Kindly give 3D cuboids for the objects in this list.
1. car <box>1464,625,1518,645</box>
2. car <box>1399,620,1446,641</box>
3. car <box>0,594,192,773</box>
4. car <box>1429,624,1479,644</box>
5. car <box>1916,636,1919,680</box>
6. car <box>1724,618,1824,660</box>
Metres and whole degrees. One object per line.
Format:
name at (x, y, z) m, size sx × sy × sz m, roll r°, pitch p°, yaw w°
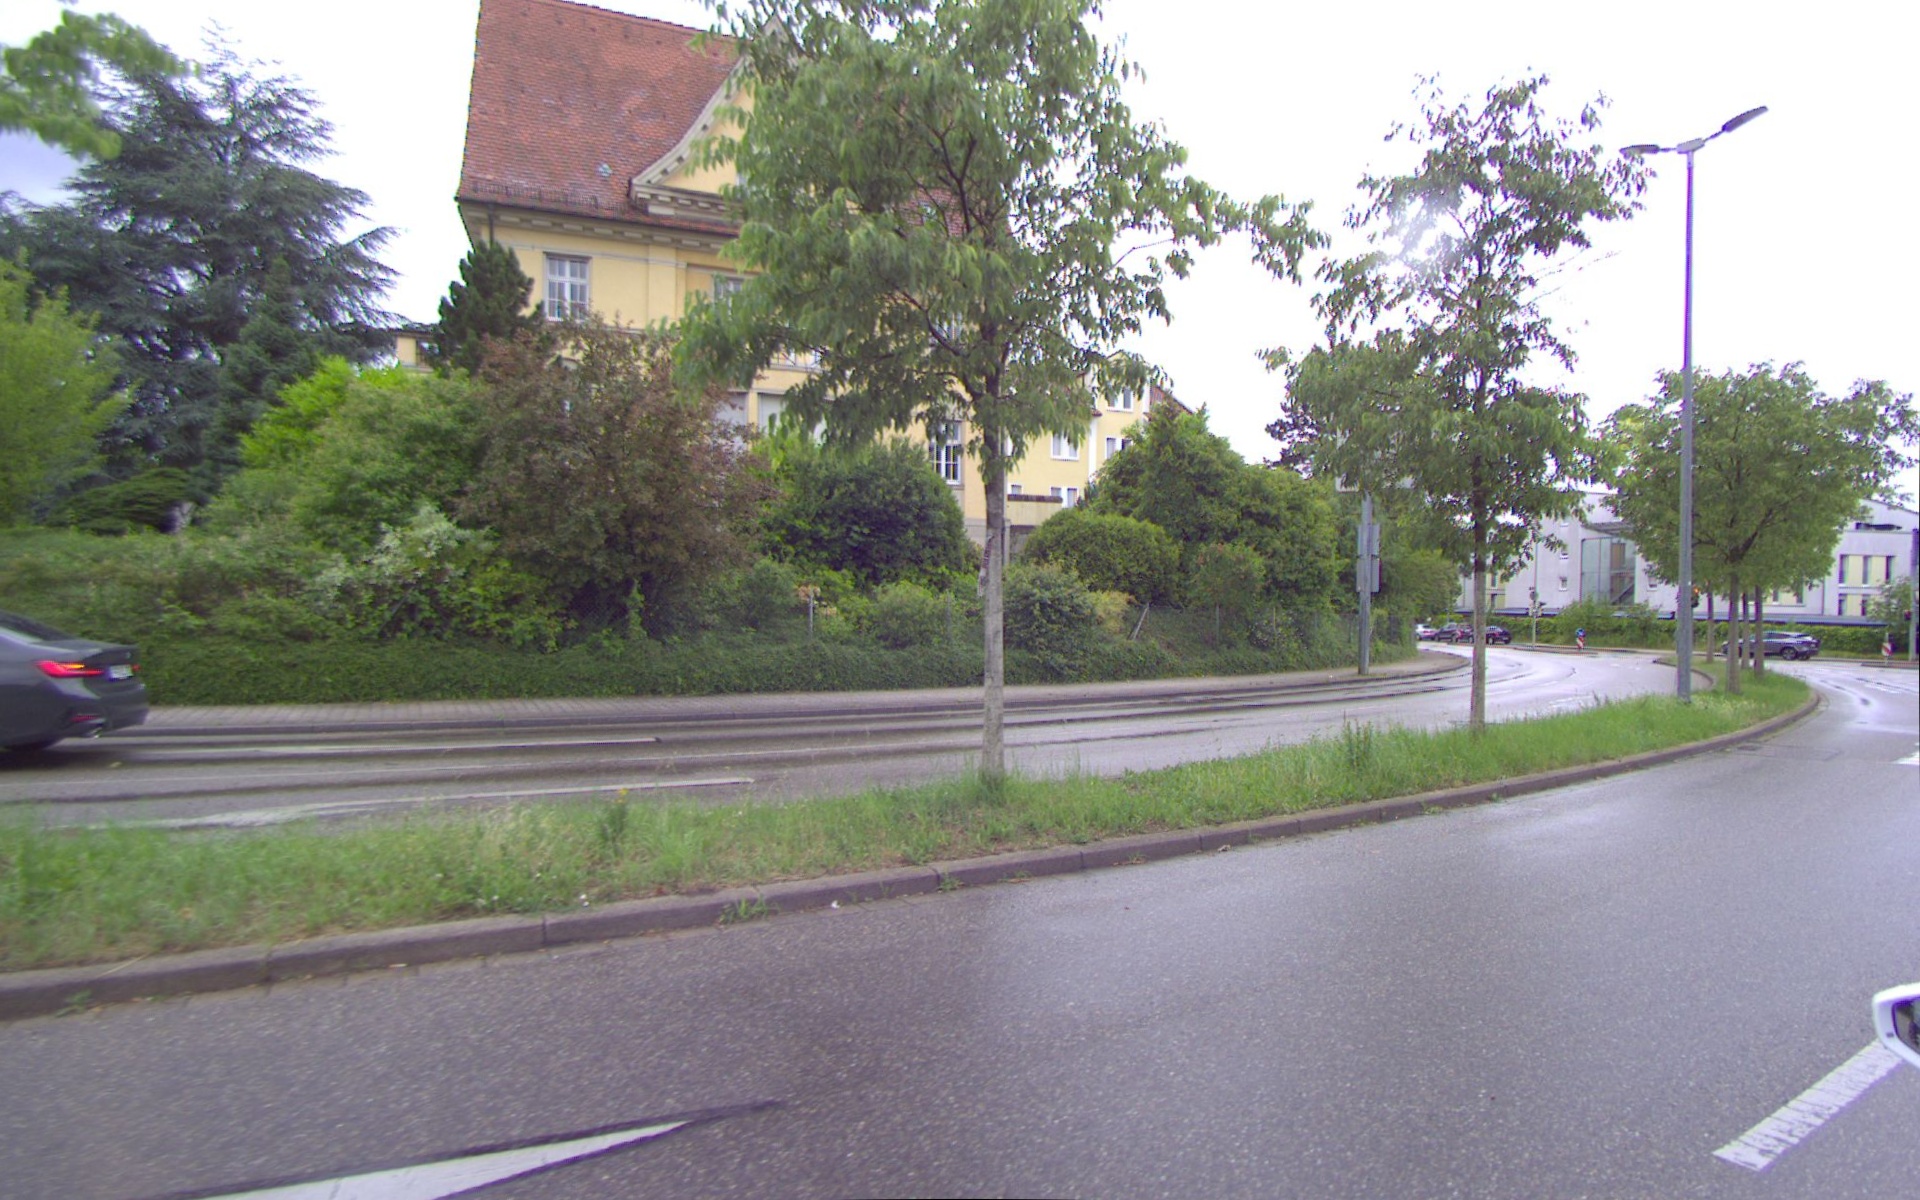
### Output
car at (44.039, 2.886, 83.414) m, size 1.963 × 1.576 × 3.994 m, roll 0°, pitch 0°, yaw -8°
car at (42.550, 2.805, 92.463) m, size 1.964 × 1.576 × 3.993 m, roll 2°, pitch 2°, yaw -8°
car at (-9.570, 0.655, 8.497) m, size 4.485 × 1.456 × 1.988 m, roll 2°, pitch -2°, yaw -24°
car at (43.212, 2.931, 87.950) m, size 1.964 × 1.576 × 3.994 m, roll 2°, pitch 0°, yaw -8°
car at (31.514, 1.857, 31.468) m, size 1.828 × 1.448 × 3.984 m, roll 0°, pitch -2°, yaw 38°
car at (46.551, 2.181, 57.520) m, size 1.958 × 2.041 × 3.966 m, roll 0°, pitch 4°, yaw -31°
